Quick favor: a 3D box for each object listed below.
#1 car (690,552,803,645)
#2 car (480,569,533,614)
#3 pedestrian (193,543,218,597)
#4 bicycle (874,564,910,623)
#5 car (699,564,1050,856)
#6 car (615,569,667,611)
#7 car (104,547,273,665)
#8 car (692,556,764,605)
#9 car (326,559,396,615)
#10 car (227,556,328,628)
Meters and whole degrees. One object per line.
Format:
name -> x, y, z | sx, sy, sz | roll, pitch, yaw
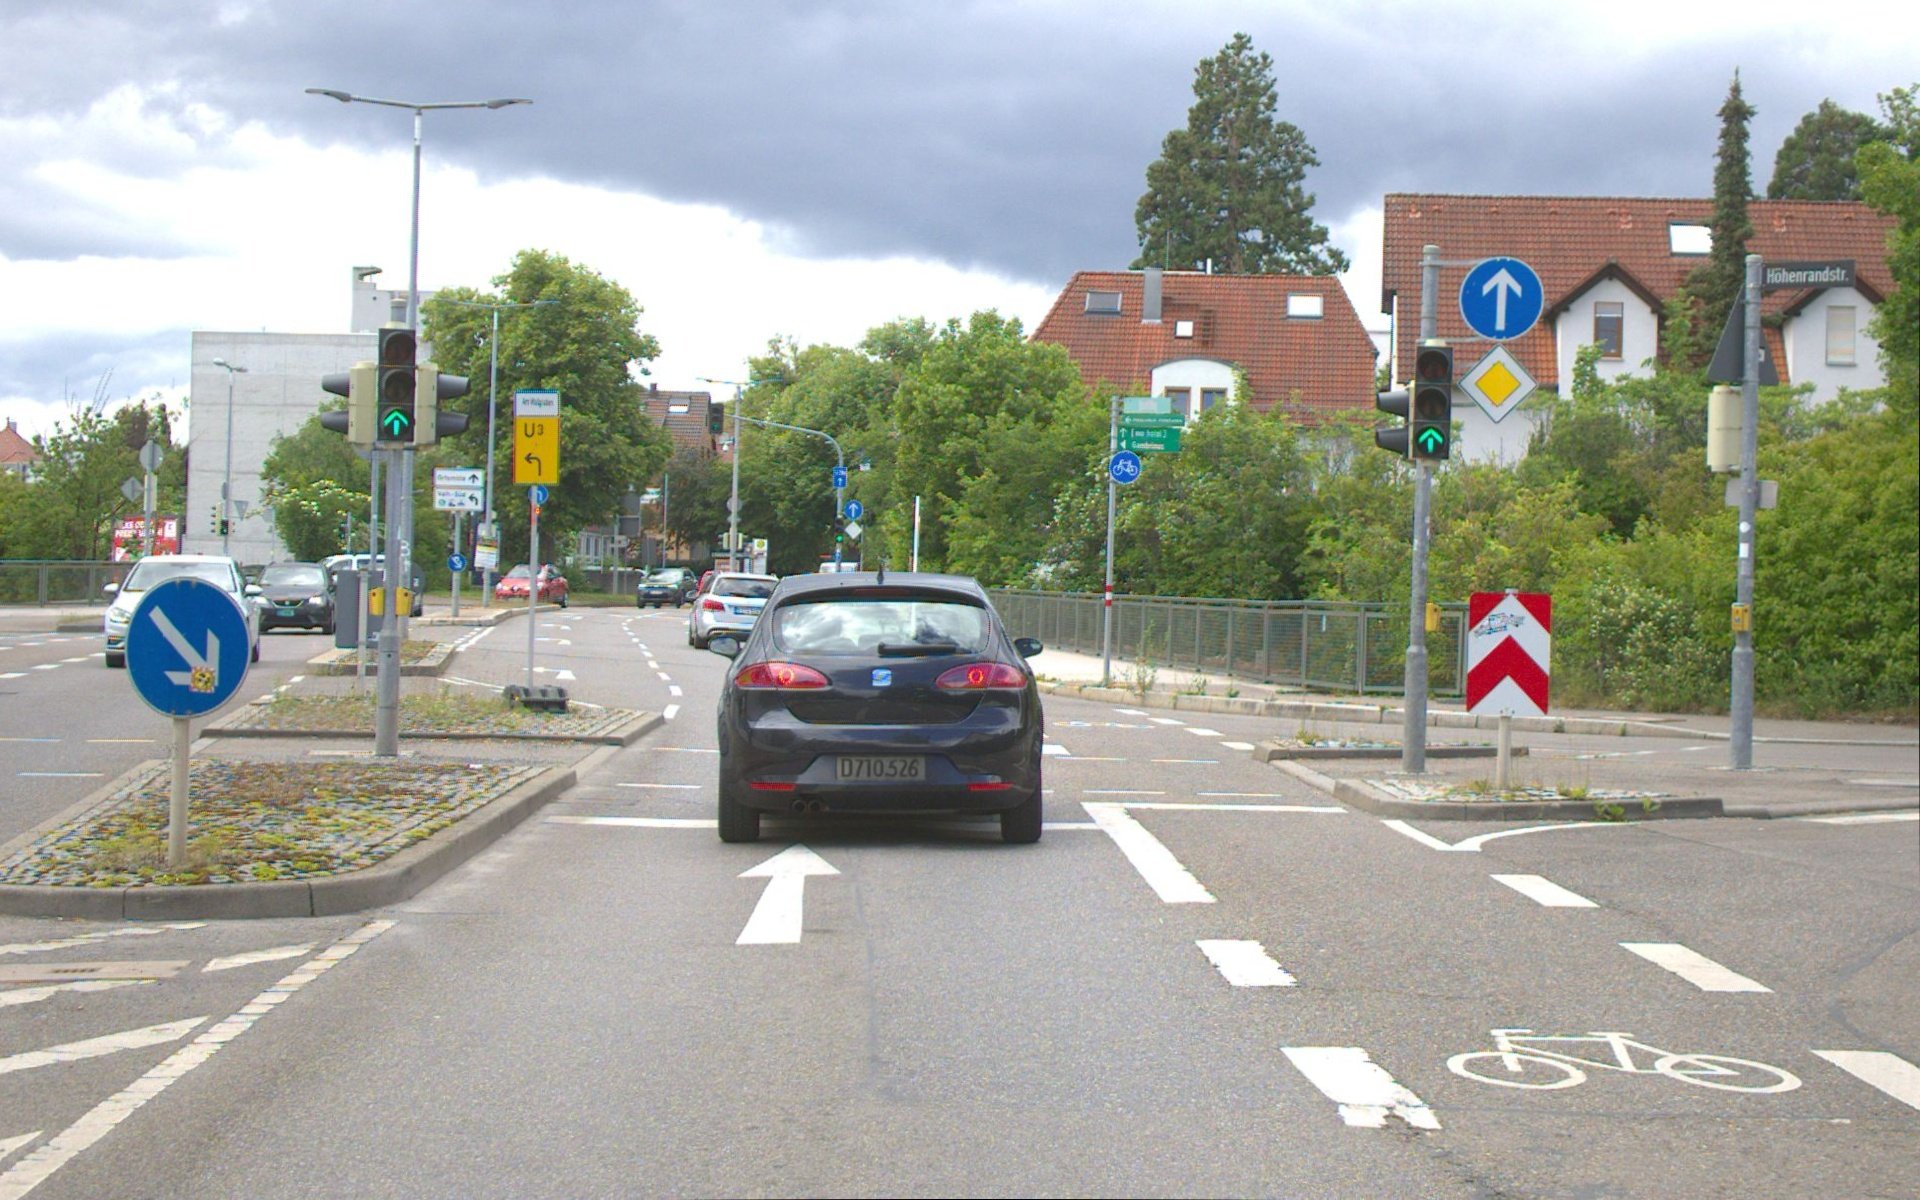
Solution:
car -> -4.105, -0.061, 65.566 | 1.818, 1.693, 4.254 | 1, 1, -8
car -> -15.428, -0.288, 116.941 | 1.720, 1.443, 4.068 | 2, 0, -8
pedestrian -> -23.495, -0.942, 107.056 | 0.656, 1.628, 1.071 | 3, 0, -12
bicycle -> -1.779, -0.173, 89.916 | 0.891, 1.505, 2.783 | 1, 1, -1
car -> -0.511, 0.541, 19.322 | 1.759, 1.444, 3.715 | 1, 1, -2
car -> -12.778, -0.419, 137.520 | 1.822, 1.621, 4.280 | 2, 0, -8
car -> -10.041, 0.060, 44.948 | 1.798, 1.439, 3.949 | 1, 0, -8
car -> -7.288, -0.627, 107.655 | 1.941, 1.476, 4.254 | 1, 1, -8
car -> -15.939, -0.362, 91.534 | 1.642, 1.404, 3.820 | 2, 0, -8
car -> -13.502, -0.175, 68.140 | 1.720, 1.386, 3.919 | 0, 0, -8
